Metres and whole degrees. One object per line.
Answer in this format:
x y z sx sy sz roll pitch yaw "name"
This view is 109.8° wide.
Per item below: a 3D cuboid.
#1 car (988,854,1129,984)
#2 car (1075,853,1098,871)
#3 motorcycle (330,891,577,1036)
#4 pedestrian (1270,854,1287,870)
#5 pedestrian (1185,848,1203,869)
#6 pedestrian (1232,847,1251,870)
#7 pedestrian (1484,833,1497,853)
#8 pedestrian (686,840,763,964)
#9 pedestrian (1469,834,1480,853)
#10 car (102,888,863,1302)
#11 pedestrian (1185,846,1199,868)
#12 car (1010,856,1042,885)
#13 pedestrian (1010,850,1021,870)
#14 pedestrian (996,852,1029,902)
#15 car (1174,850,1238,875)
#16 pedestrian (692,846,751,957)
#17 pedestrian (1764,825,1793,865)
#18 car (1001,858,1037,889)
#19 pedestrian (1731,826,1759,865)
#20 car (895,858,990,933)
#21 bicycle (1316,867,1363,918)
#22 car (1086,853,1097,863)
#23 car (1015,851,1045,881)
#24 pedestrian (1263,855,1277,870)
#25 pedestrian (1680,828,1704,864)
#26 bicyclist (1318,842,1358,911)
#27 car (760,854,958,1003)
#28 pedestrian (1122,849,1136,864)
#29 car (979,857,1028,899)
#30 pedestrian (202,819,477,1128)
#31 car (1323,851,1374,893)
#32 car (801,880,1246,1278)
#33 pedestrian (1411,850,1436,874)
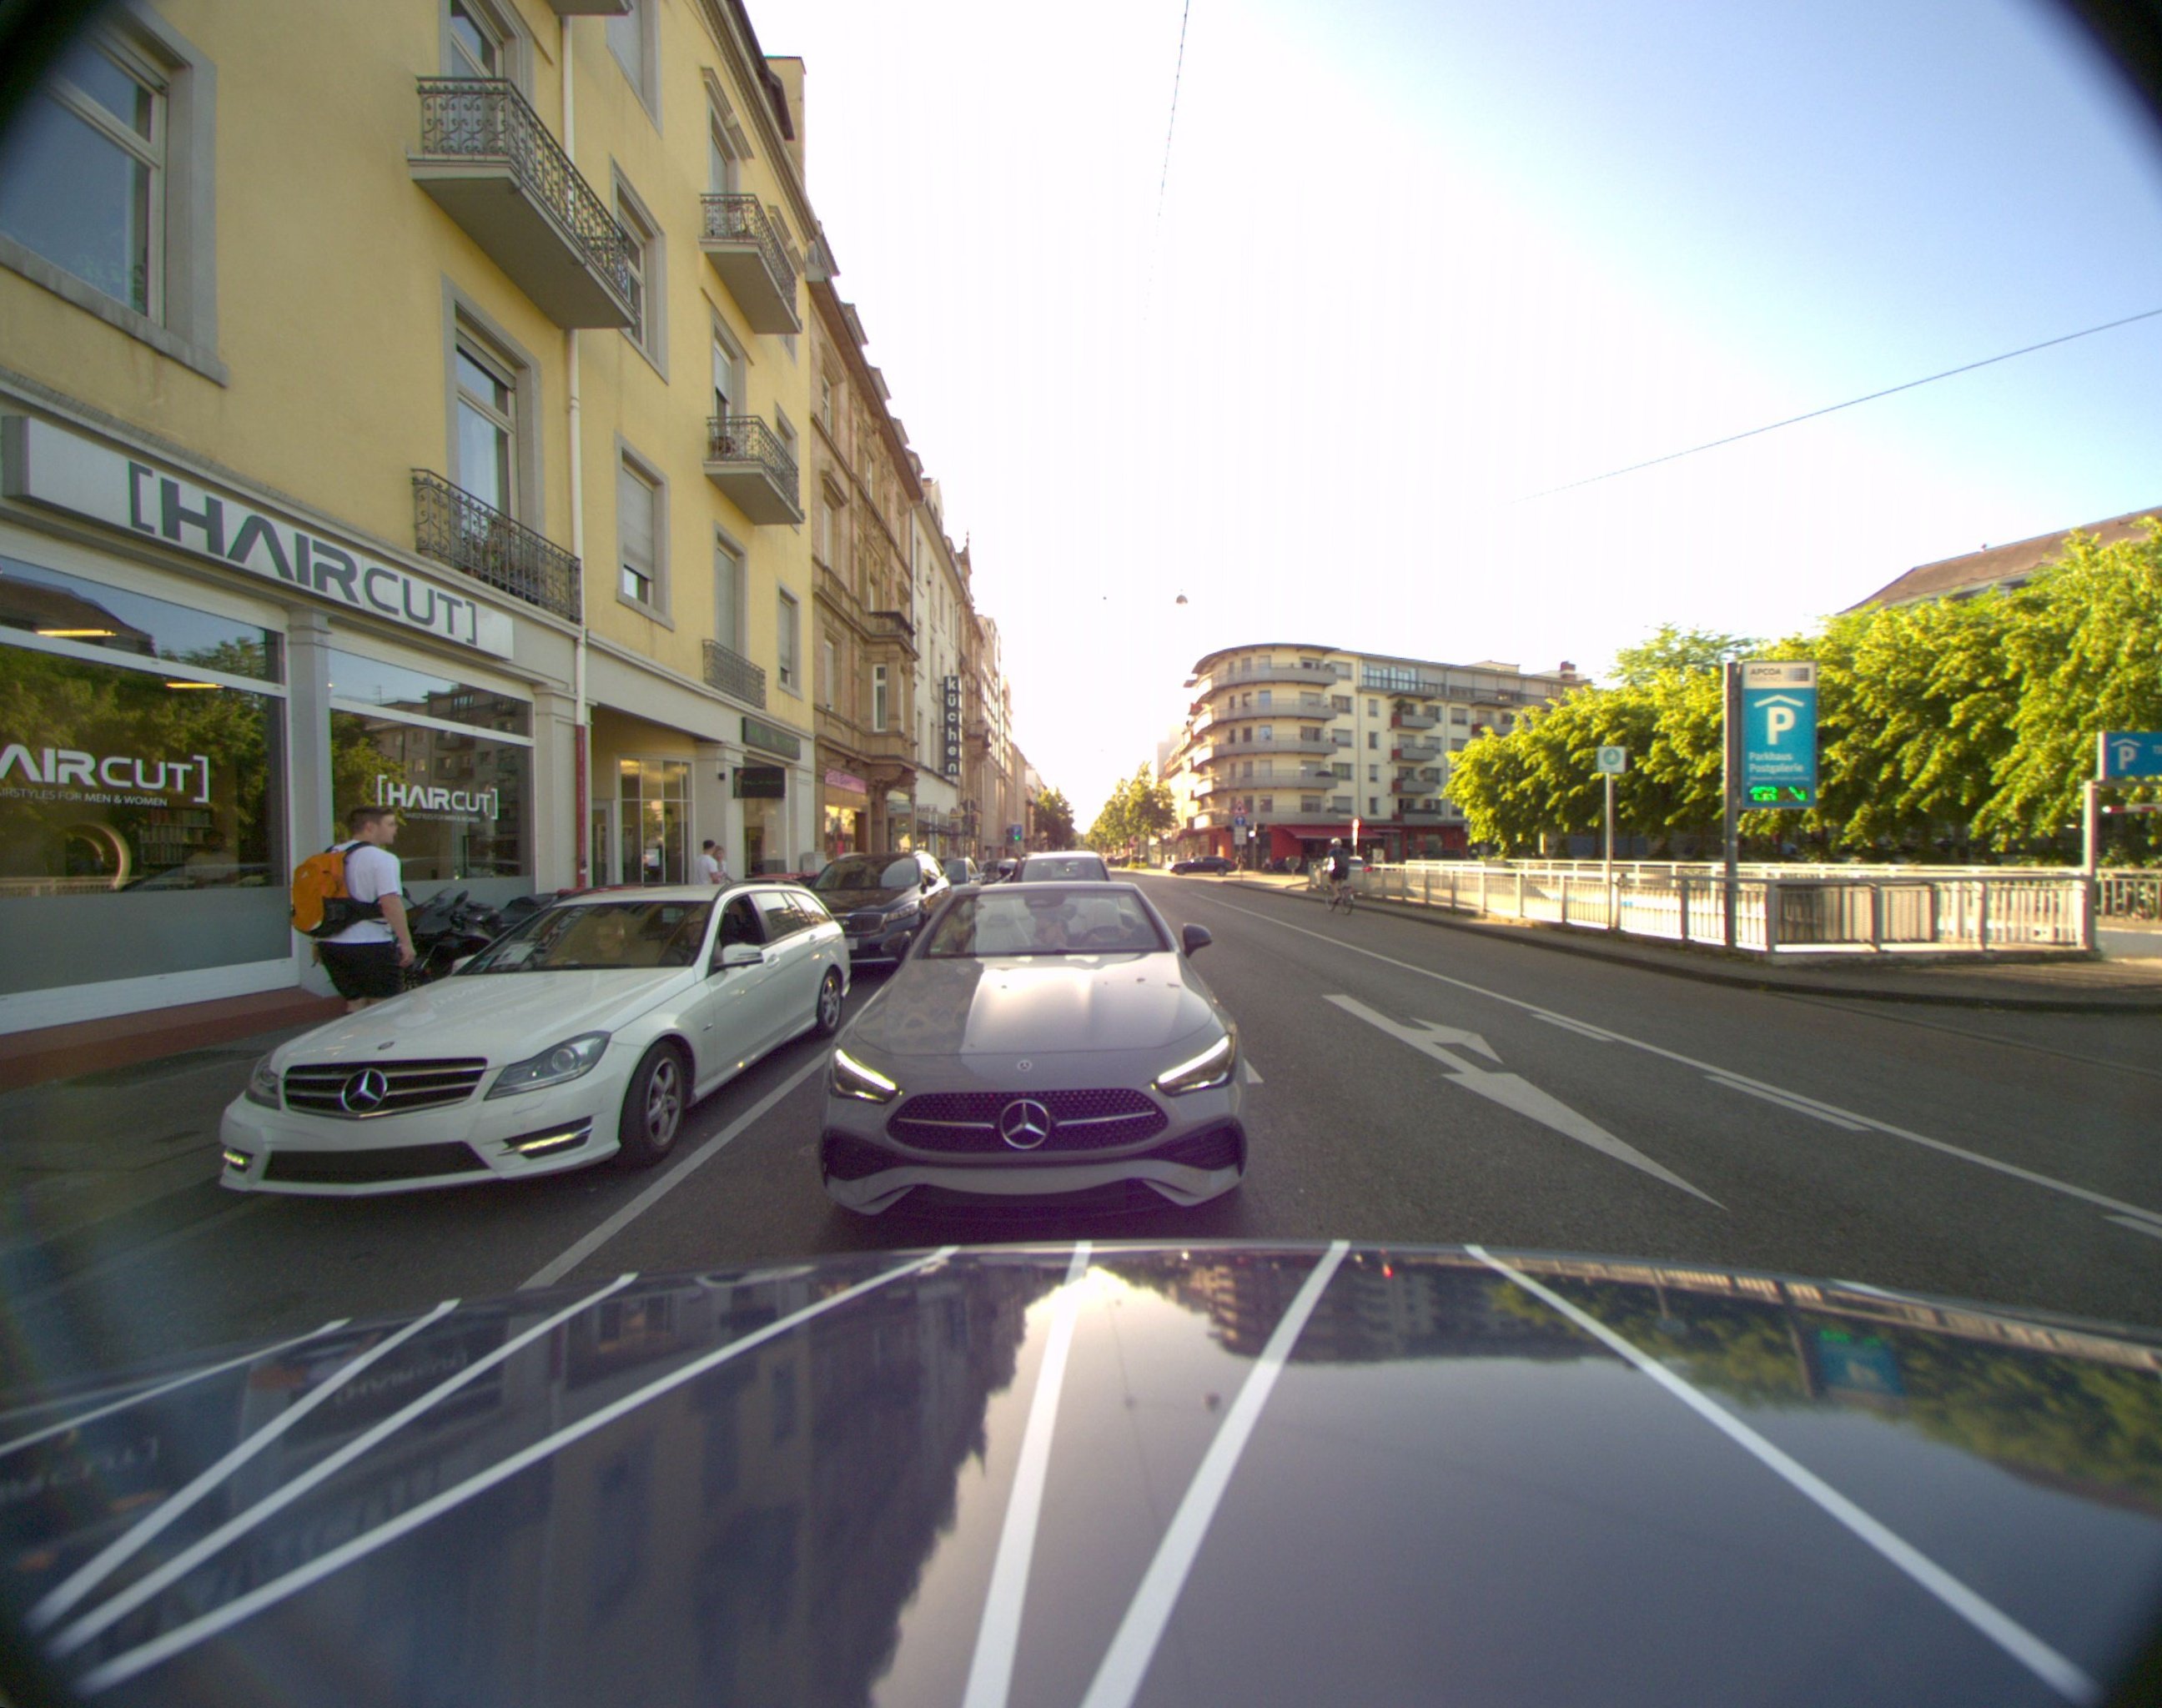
-0.367 0.893 12.748 1.866 1.658 4.706 -2 1 -2 "car"
0.437 0.676 65.722 1.695 1.437 3.575 -2 1 -3 "car"
-6.257 1.023 7.779 0.735 1.124 2.109 2 1 1 "motorcycle"
15.425 0.651 59.372 0.937 1.191 0.832 -3 1 -24 "pedestrian"
9.450 0.389 63.586 1.069 1.709 1.080 -2 1 -10 "pedestrian"
12.626 0.353 59.820 1.063 1.739 0.960 -3 1 -30 "pedestrian"
38.358 -1.002 71.169 0.747 1.832 0.684 -2 1 1 "pedestrian"
-5.636 0.728 12.030 0.975 1.866 0.534 -3 1 -31 "pedestrian"
38.693 -1.055 74.763 0.745 1.832 0.685 -1 2 41 "pedestrian"
-3.027 1.071 5.237 1.672 1.364 4.377 -2 1 1 "car"
9.881 0.278 67.788 0.990 1.908 0.790 -2 1 -3 "pedestrian"
-2.945 0.865 40.940 1.461 1.391 3.362 -2 1 -1 "car"
-5.925 0.555 68.574 0.826 1.750 0.823 -2 1 -1 "pedestrian"
-2.419 0.791 26.906 0.836 1.709 0.821 -2 1 19 "pedestrian"
8.642 0.571 52.486 4.242 1.521 1.678 -2 1 14 "car"
-6.150 0.793 13.050 0.630 1.826 0.770 -2 1 -7 "pedestrian"
33.536 -0.431 36.522 0.748 1.832 0.683 -2 1 -13 "pedestrian"
-2.957 0.899 36.671 1.461 1.310 3.363 -2 1 -1 "car"
32.165 -0.392 36.811 0.748 1.852 0.683 -2 1 -13 "pedestrian"
-3.184 0.904 17.980 1.583 1.514 2.998 -2 1 1 "car"
6.538 0.955 19.339 0.617 1.156 1.958 1 1 3 "bicycle"
1.939 0.786 145.392 1.836 1.831 3.886 1 1 -2 "car"
-3.156 0.715 47.538 1.695 1.670 3.880 -2 1 -3 "car"
14.918 0.664 60.030 0.780 1.191 0.884 -2 1 -10 "pedestrian"
31.637 -0.429 39.347 0.748 1.832 0.683 -3 1 -21 "pedestrian"
6.506 0.551 19.277 0.703 1.700 0.810 -1 1 -2 "bicyclist"
-3.015 0.889 11.328 1.806 1.680 4.408 -2 1 -3 "car"
5.939 0.273 94.933 1.224 1.826 1.200 -3 1 -30 "pedestrian"
-3.029 0.901 30.303 1.695 1.482 3.796 -2 1 -3 "car"
-4.765 0.699 4.973 0.810 1.812 0.982 1 1 4 "pedestrian"
11.166 0.708 31.885 1.636 1.521 3.911 -2 1 14 "car"
-0.283 0.996 5.349 1.769 1.360 4.471 -2 1 -2 "car"
23.870 0.554 52.933 1.271 1.656 1.140 -2 1 8 "pedestrian"
